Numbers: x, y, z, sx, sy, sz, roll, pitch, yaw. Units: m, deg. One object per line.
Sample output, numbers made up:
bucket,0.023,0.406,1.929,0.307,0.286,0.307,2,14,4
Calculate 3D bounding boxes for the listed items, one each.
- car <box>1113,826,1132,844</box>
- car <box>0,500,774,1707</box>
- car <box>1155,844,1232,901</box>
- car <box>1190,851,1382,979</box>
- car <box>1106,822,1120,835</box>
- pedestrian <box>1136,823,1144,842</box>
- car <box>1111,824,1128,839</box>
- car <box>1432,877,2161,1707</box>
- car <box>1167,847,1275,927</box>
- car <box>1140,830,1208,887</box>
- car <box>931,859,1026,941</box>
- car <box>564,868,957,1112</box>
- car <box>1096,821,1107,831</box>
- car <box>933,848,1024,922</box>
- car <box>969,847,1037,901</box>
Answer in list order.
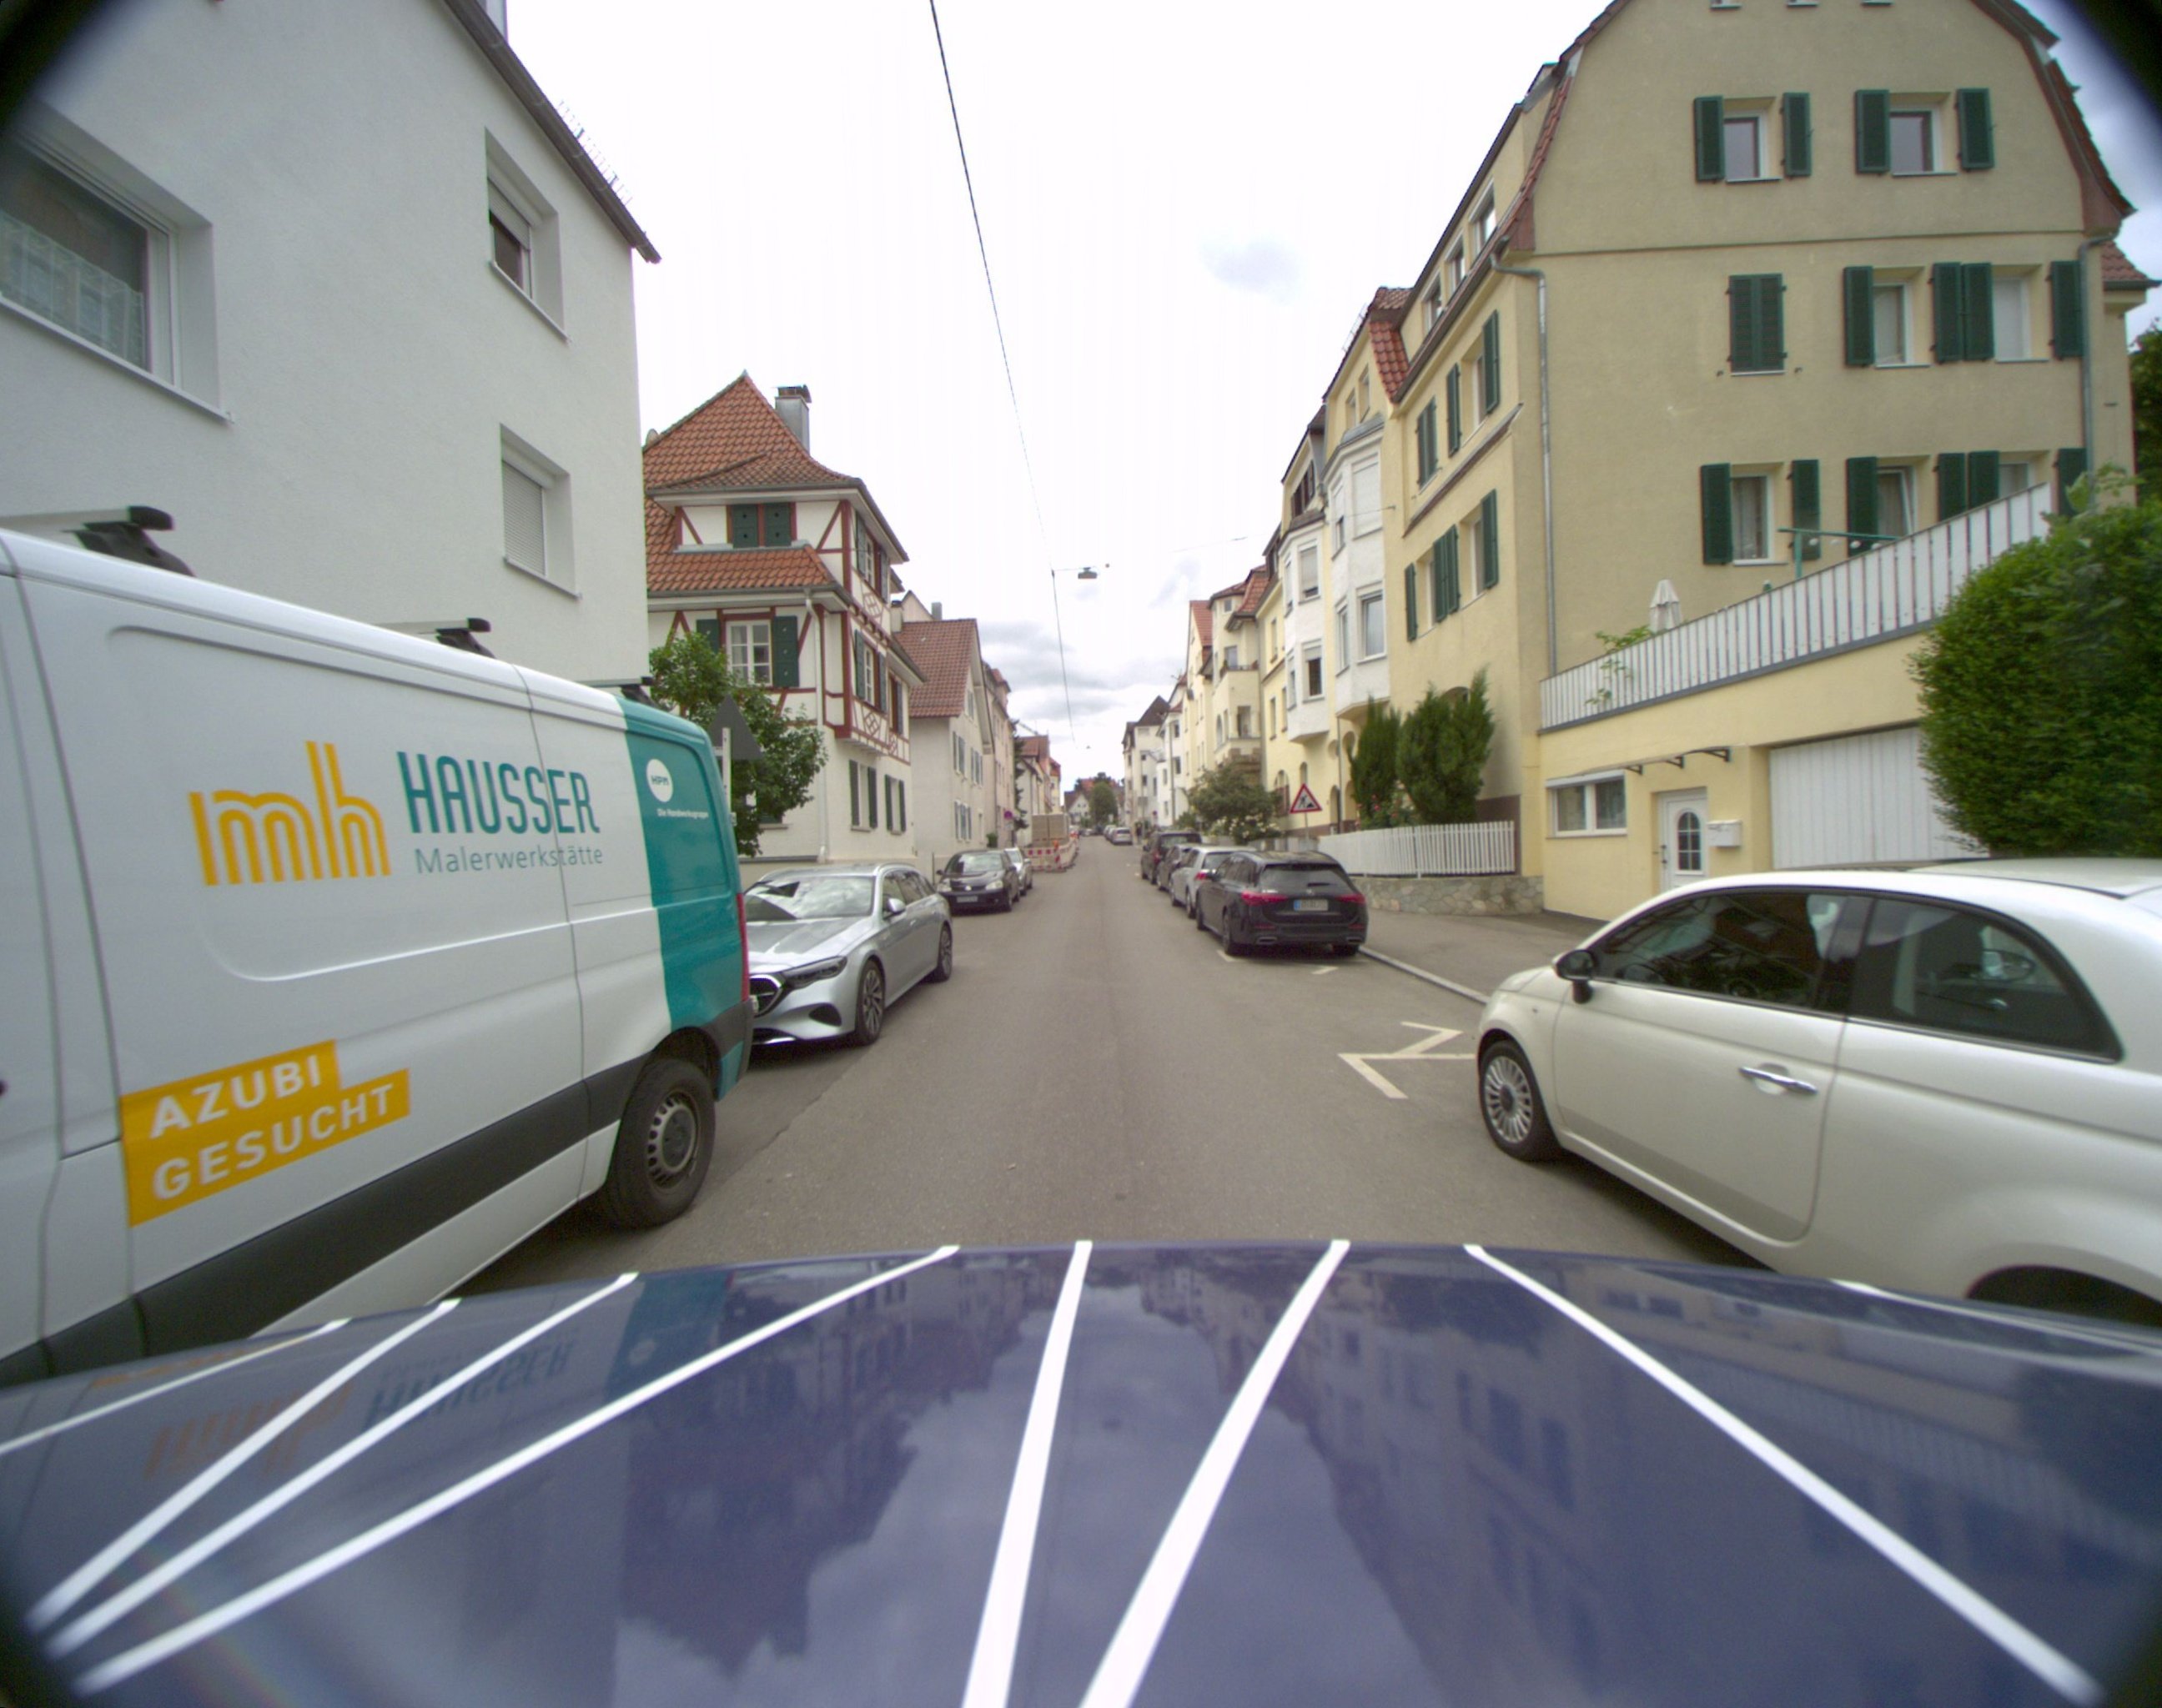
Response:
car,3.844,-1.791,70.686,1.663,1.558,3.998,-2,3,2
car,-2.830,0.615,1.588,1.998,2.408,5.292,-2,1,2
car,3.106,0.455,21.622,1.643,1.391,3.701,0,2,0
car,2.879,0.754,11.662,1.807,1.472,4.327,-2,2,1
car,4.336,-3.471,102.844,1.782,1.558,3.998,-2,3,2
pedestrian,5.346,-1.925,68.656,0.617,1.647,0.812,-3,2,2
car,4.348,-2.533,86.522,1.782,1.558,3.998,-2,3,2
car,2.823,0.884,2.569,1.611,1.445,3.613,0,1,1
car,2.929,0.619,16.692,1.643,1.420,4.122,-1,2,0
car,3.166,0.074,26.636,1.753,1.787,4.147,-1,2,-2
car,-2.405,1.024,18.763,1.781,1.710,4.000,-3,0,-1
car,-2.606,1.002,7.516,1.829,1.437,4.382,-3,1,2
car,3.490,-4.808,129.888,1.782,1.558,3.998,-2,3,2
car,-2.452,0.686,19.026,1.609,1.481,4.022,-3,2,1
car,-2.352,0.560,23.824,1.629,1.385,4.235,-3,2,0
